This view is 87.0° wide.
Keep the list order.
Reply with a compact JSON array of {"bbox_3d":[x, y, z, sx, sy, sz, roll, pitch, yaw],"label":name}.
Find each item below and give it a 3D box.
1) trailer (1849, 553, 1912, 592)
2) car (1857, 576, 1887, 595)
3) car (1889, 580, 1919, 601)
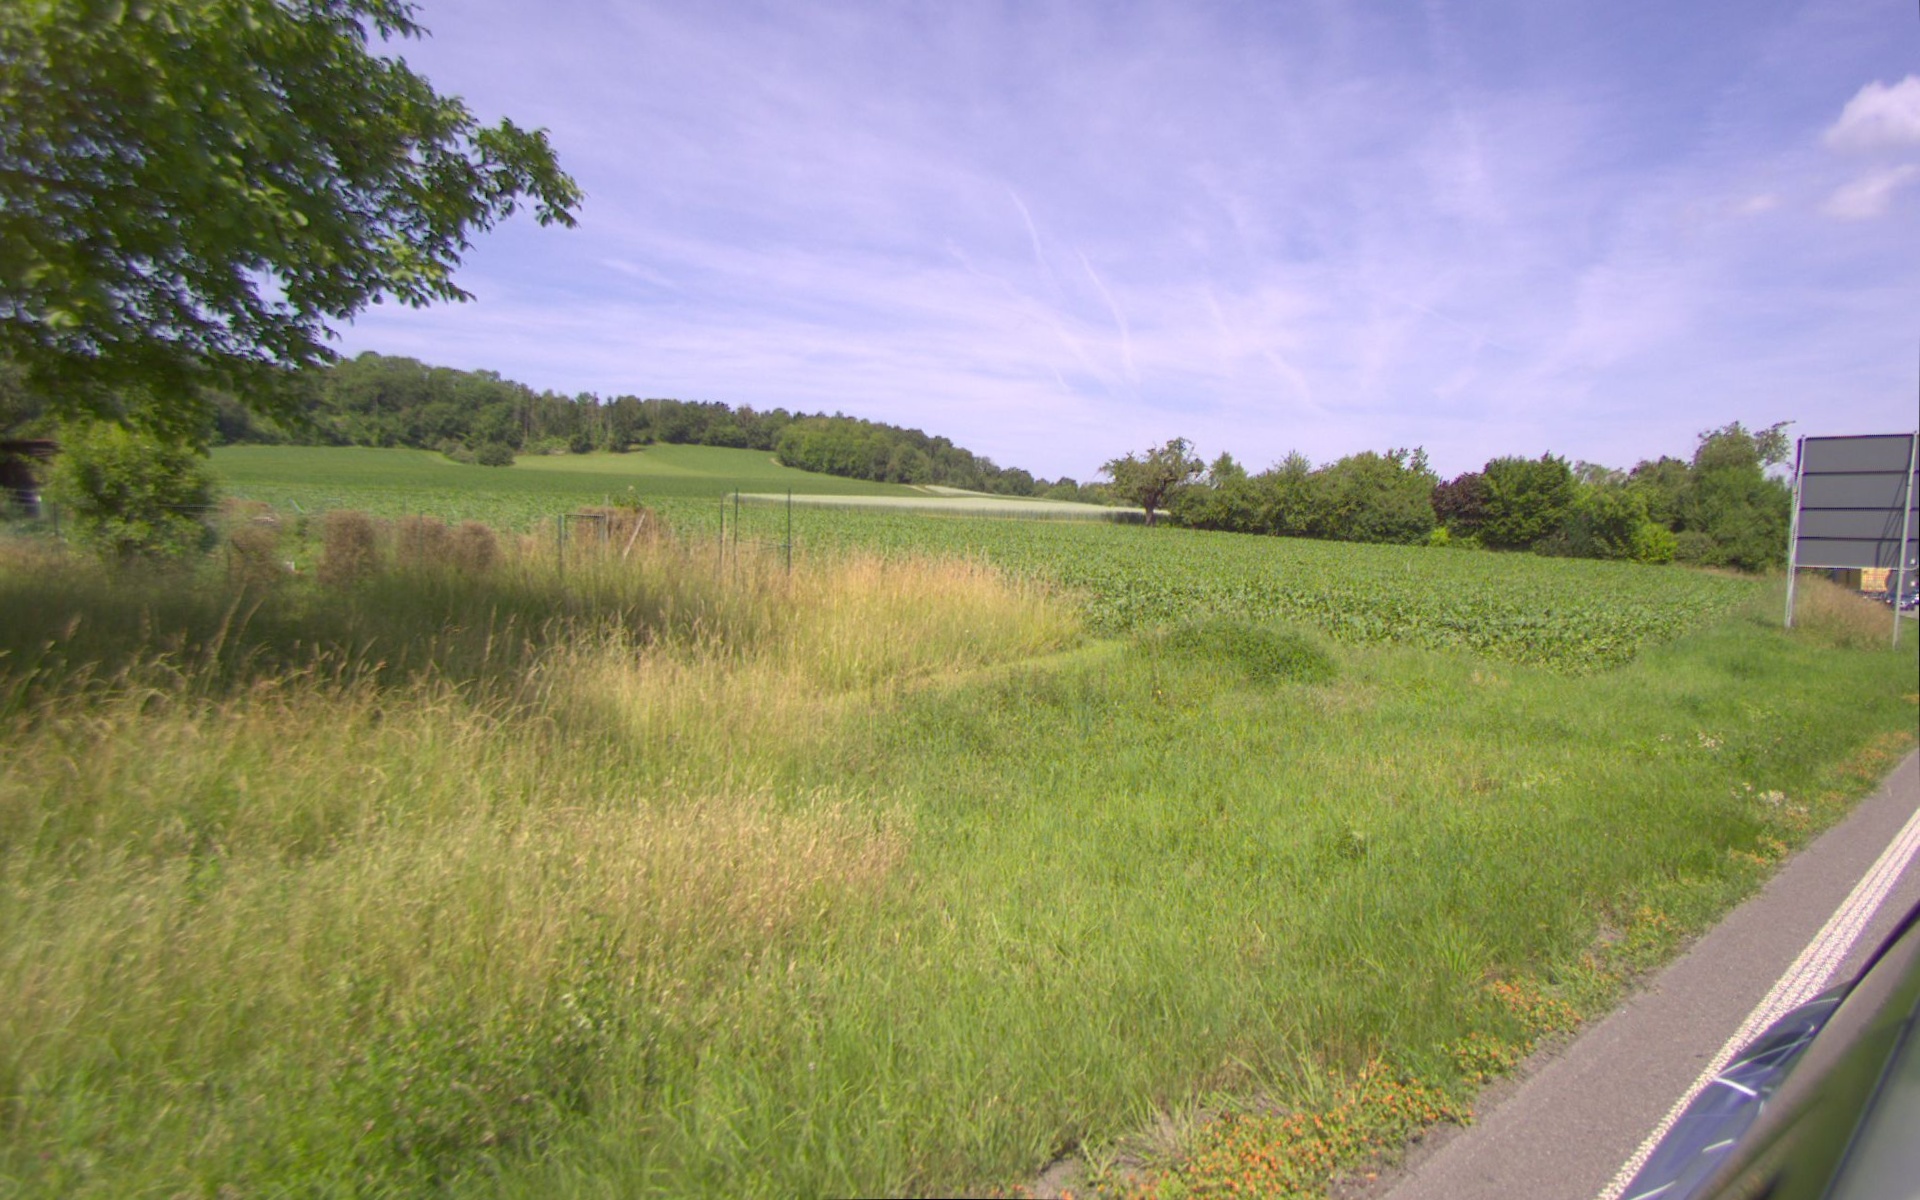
[{"bbox_3d":[103.775,-3.167,114.271,2.985,4.093,12.770,2,3,32],"label":"trailer"},{"bbox_3d":[88.122,-1.452,97.812,1.657,1.670,3.949,4,4,36],"label":"car"},{"bbox_3d":[74.900,-0.783,79.897,1.815,1.538,3.949,3,3,36],"label":"car"}]
